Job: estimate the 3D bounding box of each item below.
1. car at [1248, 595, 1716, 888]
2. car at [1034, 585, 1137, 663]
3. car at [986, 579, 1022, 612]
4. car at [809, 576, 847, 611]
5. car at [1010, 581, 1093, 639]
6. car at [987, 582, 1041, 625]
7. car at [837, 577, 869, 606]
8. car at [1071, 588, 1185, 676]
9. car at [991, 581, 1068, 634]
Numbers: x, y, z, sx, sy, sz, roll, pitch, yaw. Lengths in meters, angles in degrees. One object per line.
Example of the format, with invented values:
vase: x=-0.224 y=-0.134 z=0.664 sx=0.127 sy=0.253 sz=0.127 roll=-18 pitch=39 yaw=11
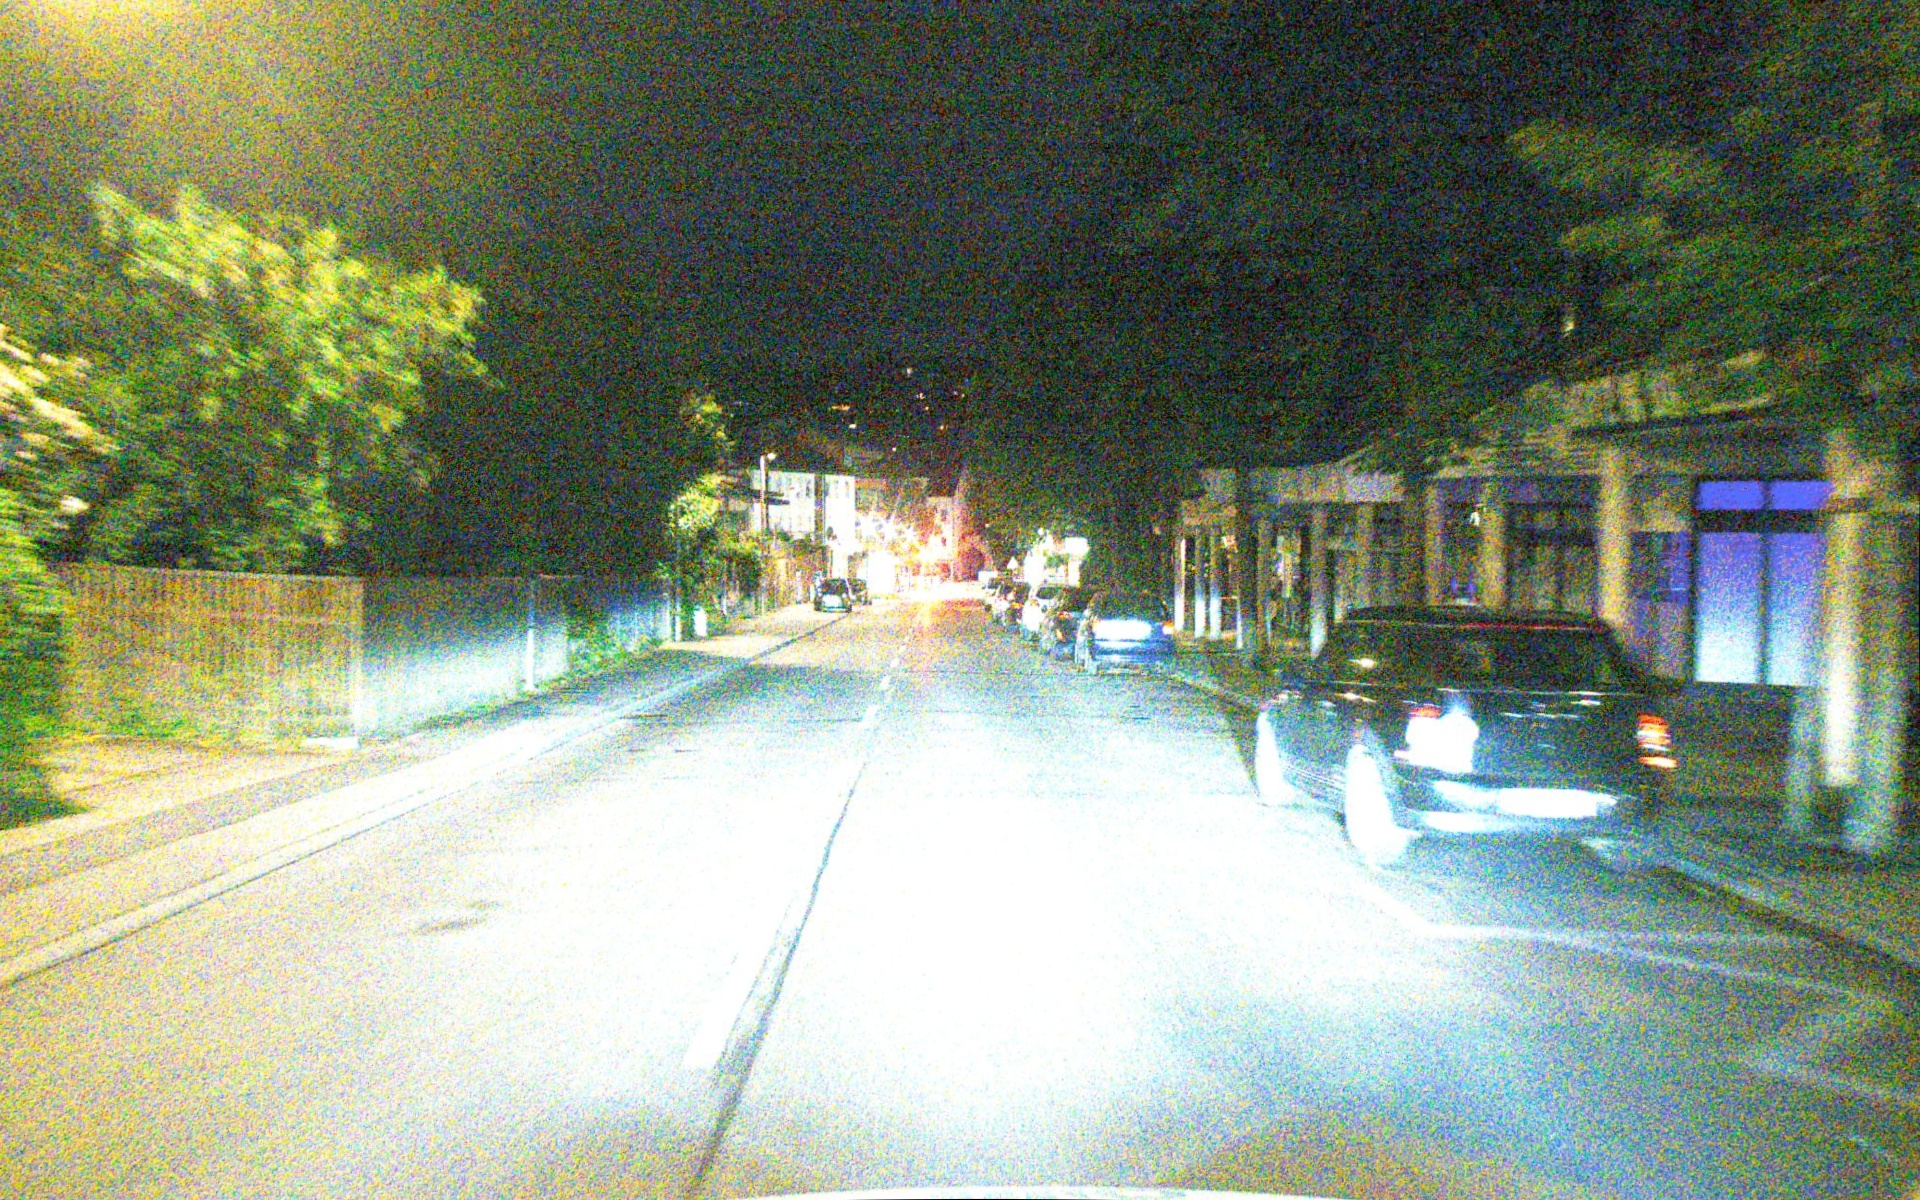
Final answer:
car: x=3.028 y=0.727 z=10.437 sx=1.597 sy=1.464 sz=3.863 roll=1 pitch=1 yaw=-2
car: x=2.582 y=0.462 z=34.773 sx=1.649 sy=1.474 sz=3.998 roll=1 pitch=1 yaw=-3
car: x=2.143 y=-0.251 z=81.600 sx=1.648 sy=1.566 sz=4.000 roll=0 pitch=1 yaw=0
car: x=-6.096 y=-0.328 z=76.636 sx=1.718 sy=1.566 sz=3.728 roll=0 pitch=1 yaw=-4
car: x=2.460 y=0.240 z=45.377 sx=1.650 sy=1.474 sz=3.995 roll=1 pitch=1 yaw=-6
car: x=1.957 y=0.110 z=61.188 sx=1.649 sy=1.474 sz=3.998 roll=1 pitch=1 yaw=-3
car: x=-6.040 y=-0.500 z=93.761 sx=1.718 sy=1.566 sz=3.729 roll=0 pitch=1 yaw=-2
car: x=2.972 y=0.525 z=29.932 sx=1.829 sy=1.427 sz=4.002 roll=1 pitch=1 yaw=3
car: x=2.048 y=0.207 z=49.883 sx=1.650 sy=1.474 sz=3.994 roll=1 pitch=1 yaw=-7
